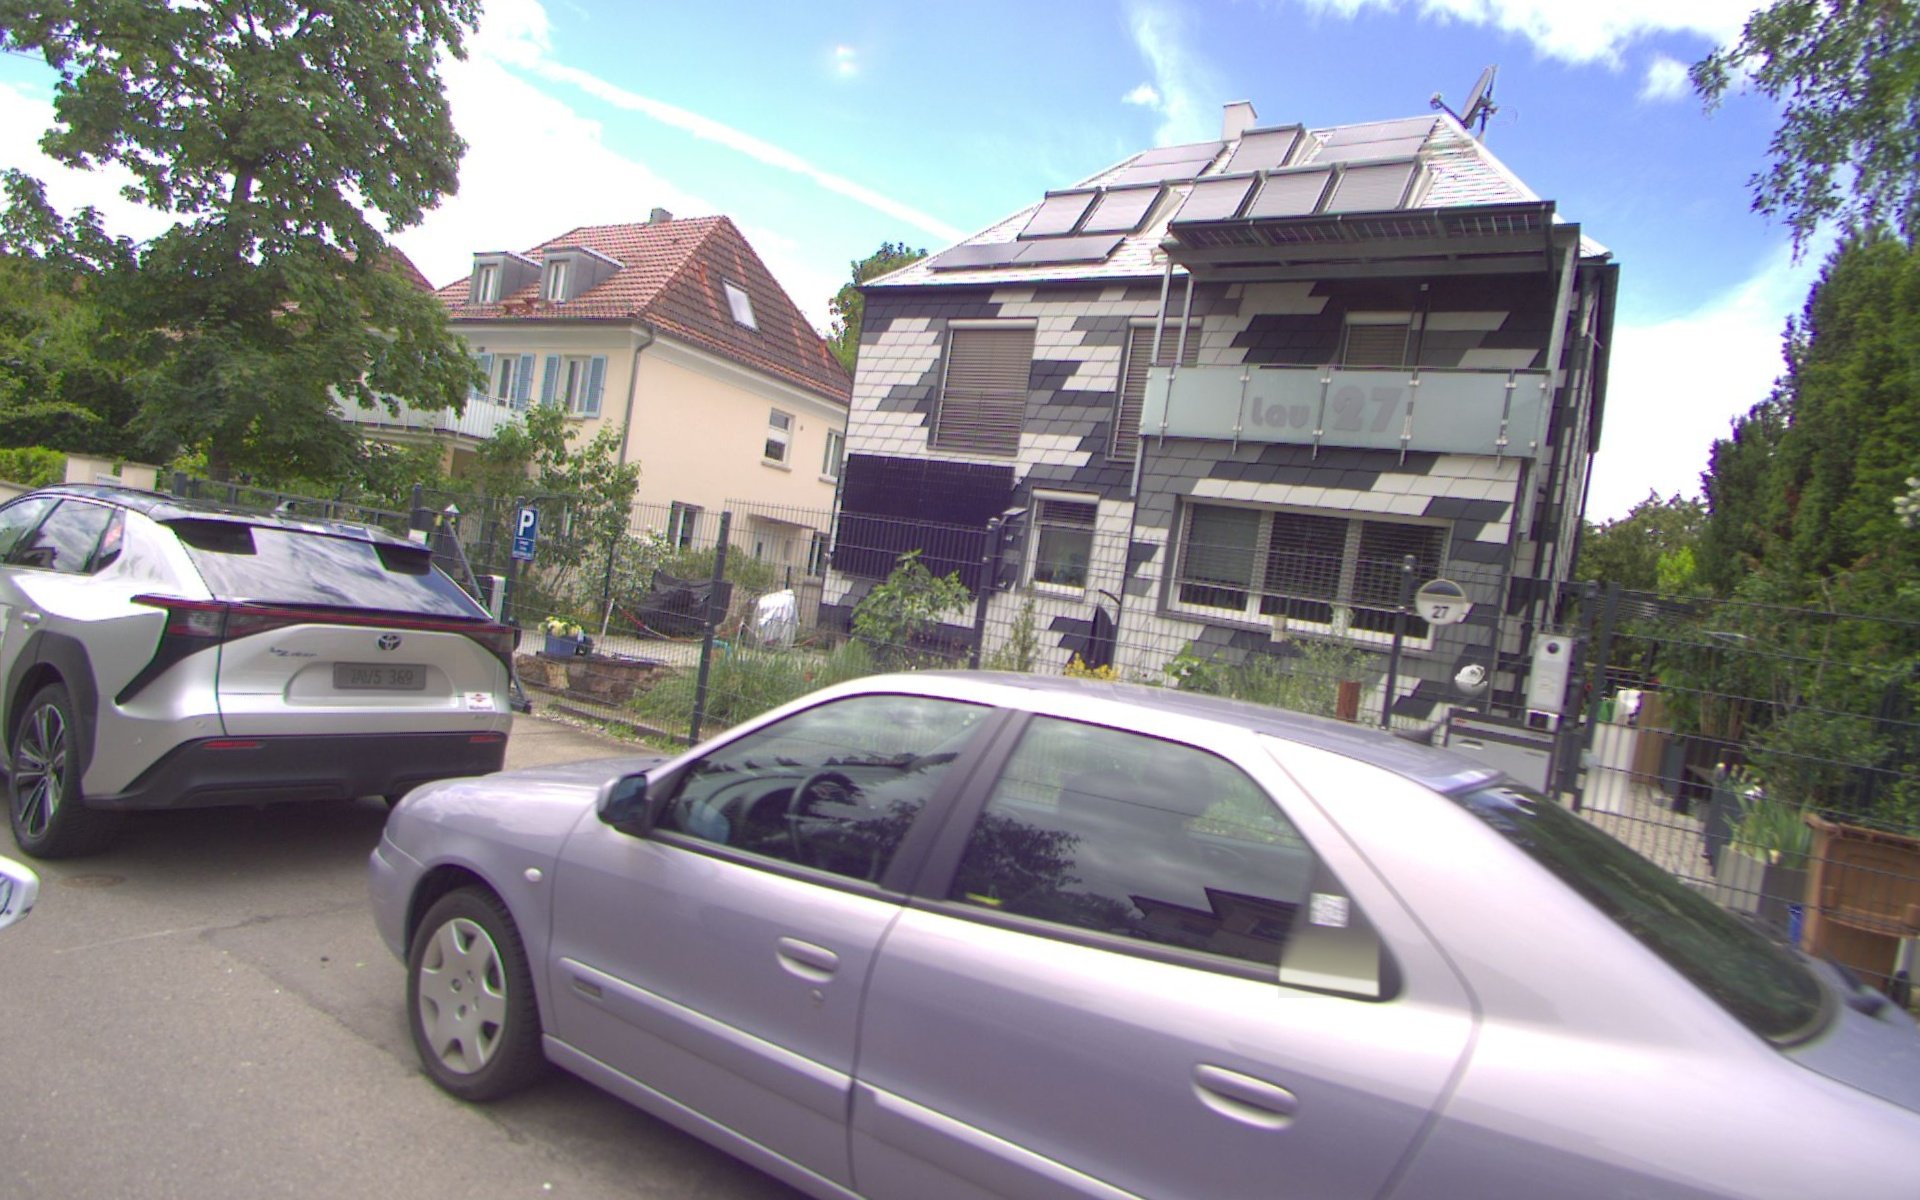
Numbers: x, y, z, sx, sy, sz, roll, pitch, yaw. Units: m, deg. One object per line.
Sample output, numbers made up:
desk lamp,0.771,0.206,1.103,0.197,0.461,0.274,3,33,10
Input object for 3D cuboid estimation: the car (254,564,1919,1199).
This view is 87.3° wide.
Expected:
car,-0.071,0.862,2.966,4.166,1.398,1.719,7,-1,32

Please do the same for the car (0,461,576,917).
car,-4.440,0.211,5.668,4.418,1.643,1.832,7,-1,32
